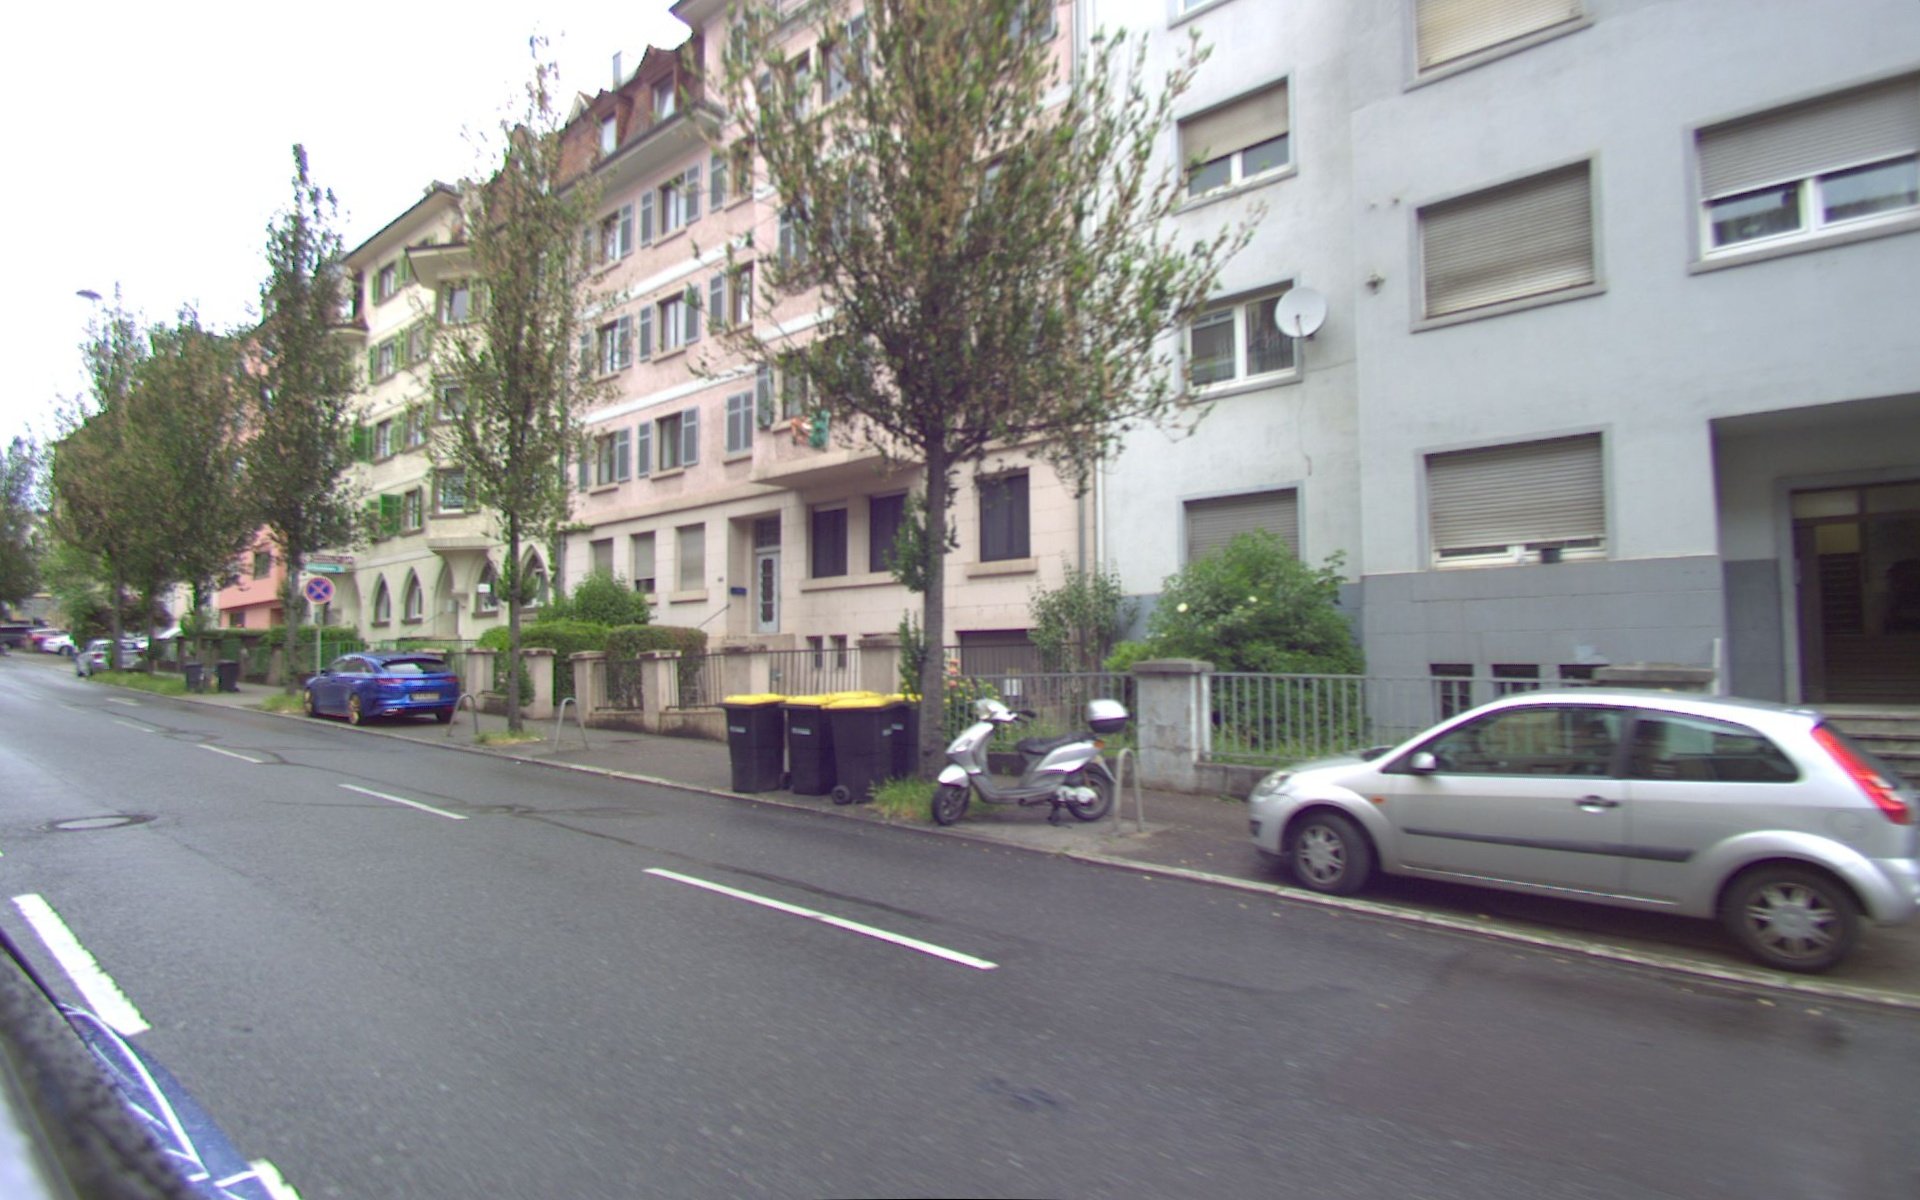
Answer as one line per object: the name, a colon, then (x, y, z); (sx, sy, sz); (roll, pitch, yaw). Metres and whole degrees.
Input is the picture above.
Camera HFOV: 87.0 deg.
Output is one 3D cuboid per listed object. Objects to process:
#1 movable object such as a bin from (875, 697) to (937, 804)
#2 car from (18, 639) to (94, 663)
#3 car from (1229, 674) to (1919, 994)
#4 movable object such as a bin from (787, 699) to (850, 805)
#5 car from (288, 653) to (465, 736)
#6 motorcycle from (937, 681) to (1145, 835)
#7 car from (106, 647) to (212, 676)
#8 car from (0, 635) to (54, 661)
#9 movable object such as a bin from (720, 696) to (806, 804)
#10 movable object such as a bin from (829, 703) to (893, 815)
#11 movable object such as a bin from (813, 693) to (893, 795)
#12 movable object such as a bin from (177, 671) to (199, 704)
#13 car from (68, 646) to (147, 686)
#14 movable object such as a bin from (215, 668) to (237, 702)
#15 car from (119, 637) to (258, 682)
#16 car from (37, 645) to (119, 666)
movable object such as a bin: (-0.582, 1.612, 10.974); (0.482, 1.066, 0.467); (-1, 0, 32)
car: (-65.754, 3.688, 73.649); (1.592, 1.634, 3.878); (-1, -4, 41)
car: (3.935, 1.273, 6.670); (3.884, 1.407, 1.584); (-1, -3, 40)
movable object such as a bin: (-1.544, 1.641, 11.052); (0.482, 1.066, 0.467); (-1, 0, 32)
car: (-11.921, 1.835, 20.537); (4.600, 1.396, 1.661); (-1, -3, 41)
motorcycle: (0.725, 1.428, 9.339); (1.782, 1.325, 0.743); (1, -3, -8)
car: (-41.114, 3.174, 52.028); (1.721, 1.408, 3.886); (-1, -4, 34)
car: (-69.117, 3.505, 74.077); (1.865, 1.861, 3.881); (-1, -4, 38)
movable object such as a bin: (-2.190, 1.647, 11.275); (0.483, 1.066, 0.816); (-1, 0, 42)
movable object such as a bin: (-1.024, 1.632, 10.498); (0.480, 1.066, 0.522); (-1, 0, 19)
movable object such as a bin: (-1.236, 1.642, 11.715); (0.483, 1.066, 0.816); (-1, -1, 42)
movable object such as a bin: (-21.607, 2.446, 28.322); (0.572, 0.896, 0.360); (-2, -2, 40)
car: (-33.273, 2.561, 39.471); (4.135, 1.429, 1.663); (-2, -5, 41)
movable object such as a bin: (-21.150, 2.442, 29.157); (0.572, 0.918, 0.360); (-1, -2, 40)
car: (-35.030, 2.659, 46.060); (1.917, 1.919, 4.673); (-1, -2, 39)
car: (-58.123, 3.668, 66.739); (1.646, 1.307, 3.878); (-1, -4, 41)
